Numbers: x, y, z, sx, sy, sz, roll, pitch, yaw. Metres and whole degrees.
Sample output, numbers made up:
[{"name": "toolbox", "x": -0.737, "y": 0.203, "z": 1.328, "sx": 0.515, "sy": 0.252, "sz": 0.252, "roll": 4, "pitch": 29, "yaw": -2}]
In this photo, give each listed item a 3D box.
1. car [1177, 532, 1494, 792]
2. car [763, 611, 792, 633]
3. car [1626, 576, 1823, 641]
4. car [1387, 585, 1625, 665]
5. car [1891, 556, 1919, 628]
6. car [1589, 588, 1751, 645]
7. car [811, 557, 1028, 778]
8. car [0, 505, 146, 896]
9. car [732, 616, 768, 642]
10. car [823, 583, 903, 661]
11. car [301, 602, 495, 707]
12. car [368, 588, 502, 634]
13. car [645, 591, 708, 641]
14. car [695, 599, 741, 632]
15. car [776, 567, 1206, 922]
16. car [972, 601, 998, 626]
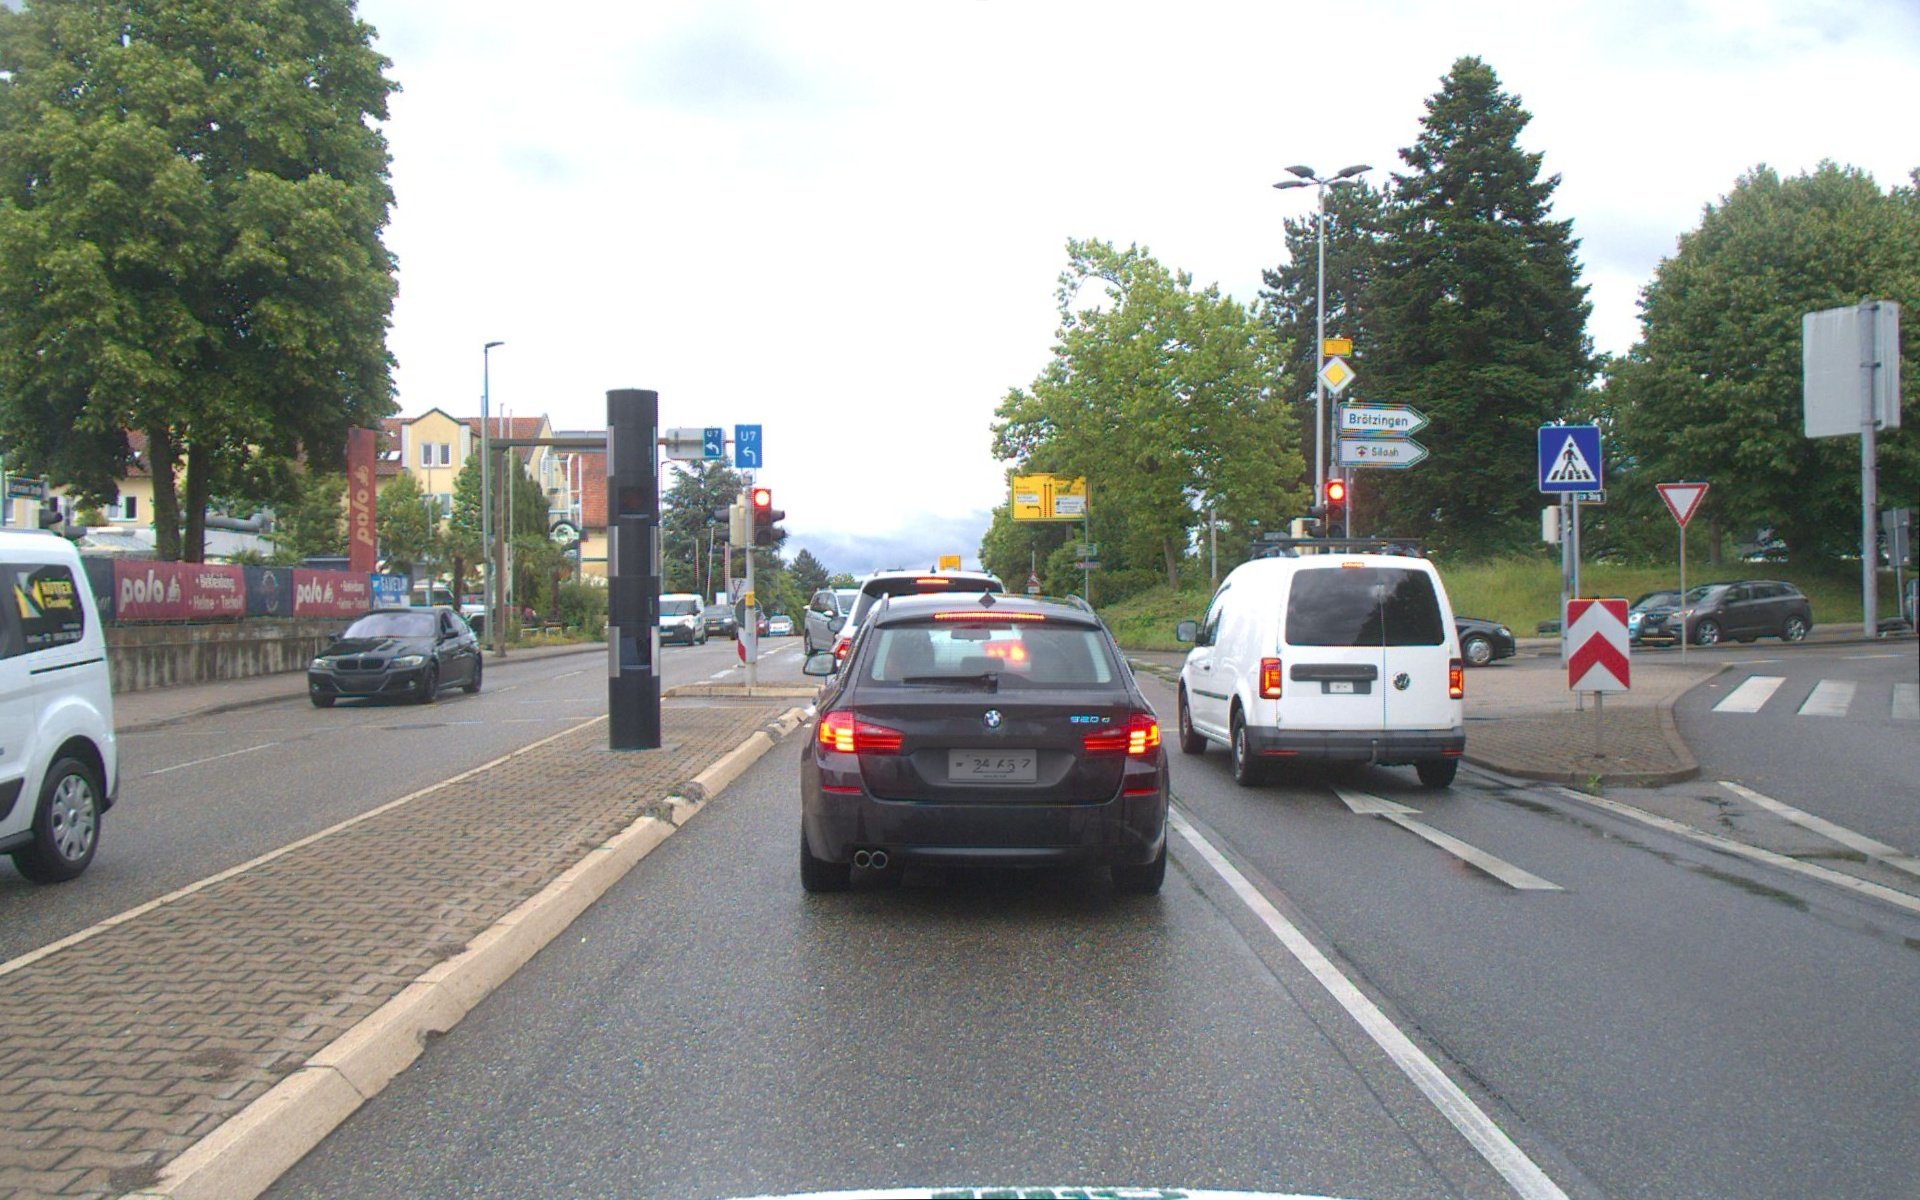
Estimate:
[{"name": "car", "x": 3.029, "y": 0.458, "z": 14.155, "sx": 1.706, "sy": 1.902, "sz": 3.944, "roll": 1, "pitch": 0, "yaw": -2}, {"name": "car", "x": -12.137, "y": 1.471, "z": 110.052, "sx": 1.634, "sy": 1.377, "sz": 3.442, "roll": -1, "pitch": 1, "yaw": -1}, {"name": "car", "x": 19.001, "y": 0.177, "z": 41.164, "sx": 4.245, "sy": 1.492, "sz": 1.893, "roll": -1, "pitch": 1, "yaw": -15}, {"name": "car", "x": 10.550, "y": 0.458, "z": 32.154, "sx": 4.001, "sy": 1.481, "sz": 1.900, "roll": 0, "pitch": 1, "yaw": -2}, {"name": "car", "x": 27.233, "y": -0.240, "z": 44.185, "sx": 4.672, "sy": 1.883, "sz": 1.884, "roll": -1, "pitch": 2, "yaw": -28}, {"name": "car", "x": 19.054, "y": 0.416, "z": 44.395, "sx": 3.926, "sy": 1.316, "sz": 1.600, "roll": -2, "pitch": 2, "yaw": -19}, {"name": "car", "x": -0.257, "y": 0.515, "z": 14.888, "sx": 1.692, "sy": 1.741, "sz": 3.384, "roll": 1, "pitch": 1, "yaw": 3}, {"name": "car", "x": -5.443, "y": 0.512, "z": 6.977, "sx": 1.820, "sy": 1.855, "sz": 4.577, "roll": -2, "pitch": 0, "yaw": -2}, {"name": "car", "x": -11.752, "y": 1.611, "z": 92.657, "sx": 1.634, "sy": 1.377, "sz": 3.442, "roll": -1, "pitch": 1, "yaw": -1}, {"name": "car", "x": -2.236, "y": 0.489, "z": 39.070, "sx": 1.699, "sy": 1.721, "sz": 3.999, "roll": -1, "pitch": 0, "yaw": -1}, {"name": "car", "x": -8.524, "y": 0.771, "z": 25.436, "sx": 1.634, "sy": 1.406, "sz": 4.071, "roll": -1, "pitch": 1, "yaw": -1}, {"name": "car", "x": -18.014, "y": 0.350, "z": 56.780, "sx": 4.146, "sy": 1.481, "sz": 1.784, "roll": -1, "pitch": 1, "yaw": -28}, {"name": "car", "x": -10.058, "y": 0.539, "z": 58.946, "sx": 1.634, "sy": 1.699, "sz": 3.682, "roll": -1, "pitch": 1, "yaw": -1}, {"name": "car", "x": -10.895, "y": 0.680, "z": 74.687, "sx": 1.634, "sy": 1.377, "sz": 3.442, "roll": -1, "pitch": 1, "yaw": -1}, {"name": "car", "x": 0.196, "y": 0.574, "z": 9.032, "sx": 1.816, "sy": 1.443, "sz": 3.958, "roll": 1, "pitch": 2, "yaw": 2}, {"name": "car", "x": 1.609, "y": 0.857, "z": 105.661, "sx": 1.567, "sy": 1.395, "sz": 3.681, "roll": -1, "pitch": 2, "yaw": 1}]
